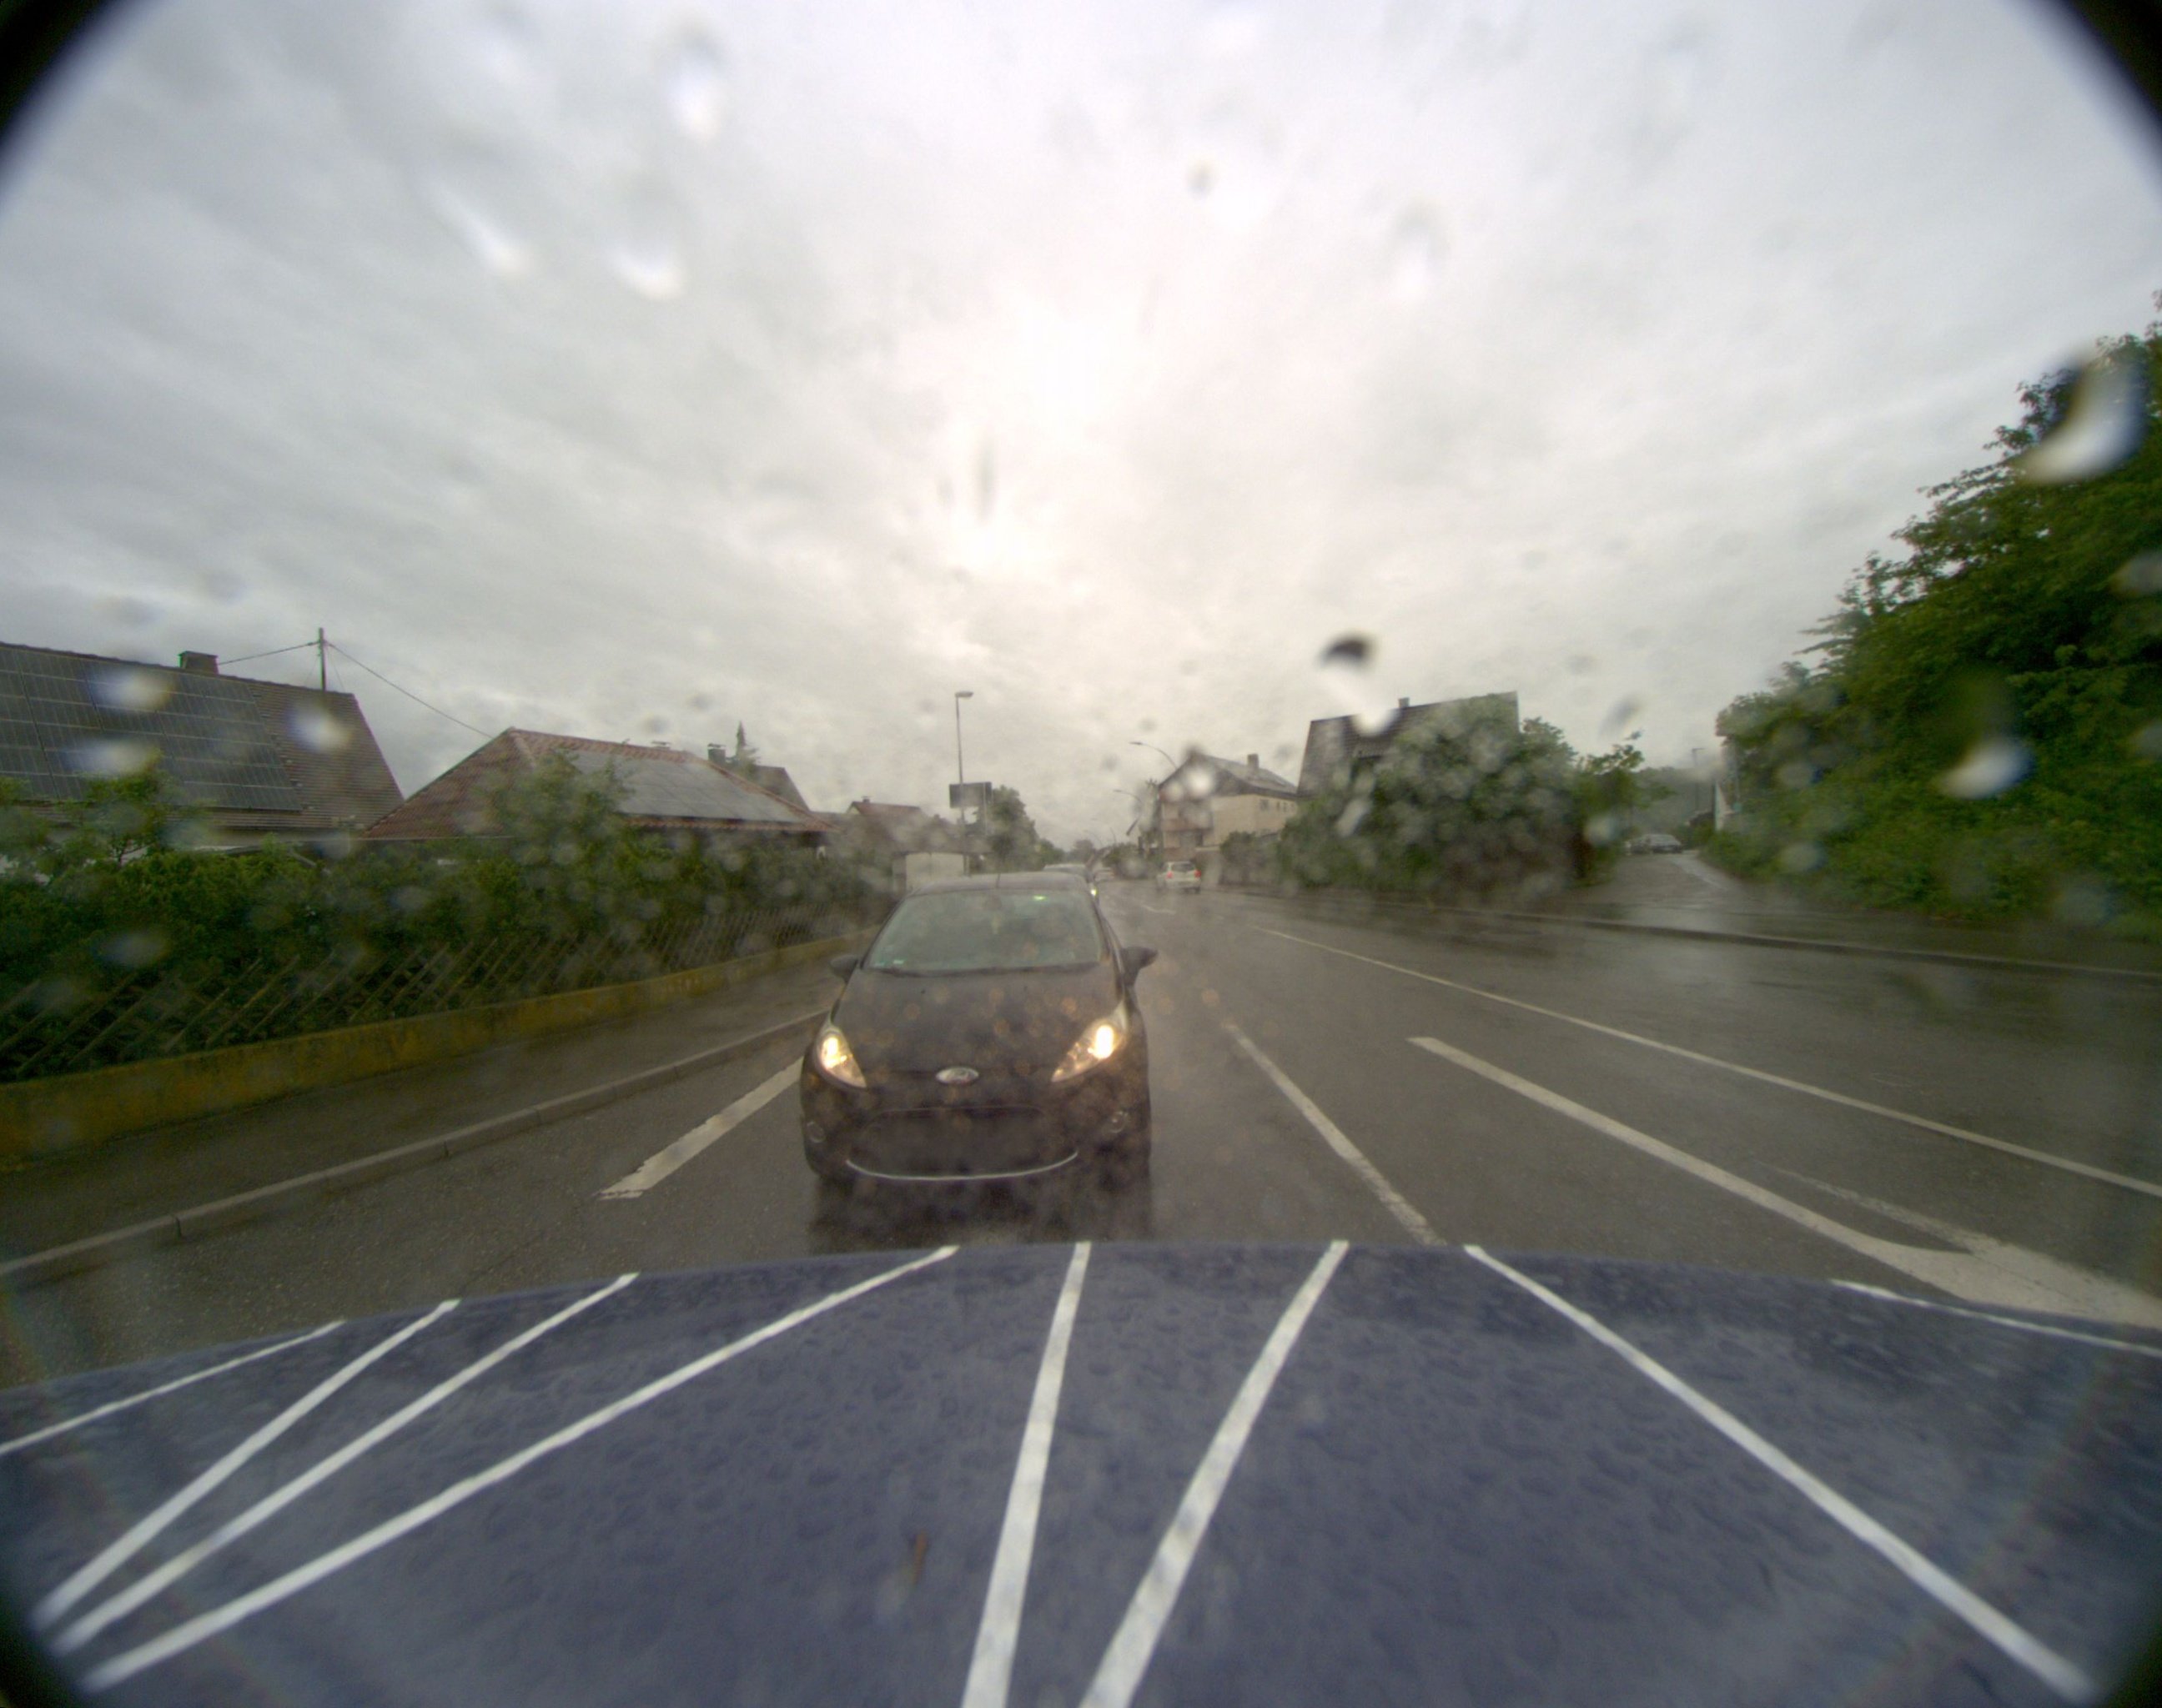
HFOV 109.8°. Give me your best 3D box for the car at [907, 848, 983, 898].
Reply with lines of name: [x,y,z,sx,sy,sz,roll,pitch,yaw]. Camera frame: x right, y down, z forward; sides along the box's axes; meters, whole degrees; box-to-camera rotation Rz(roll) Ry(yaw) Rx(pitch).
car: [-6.862,0.920,38.682,1.650,2.337,4.007,-2,0,27]

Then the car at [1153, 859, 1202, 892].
car: [4.720,1.039,37.621,1.625,1.496,3.820,-1,0,-5]

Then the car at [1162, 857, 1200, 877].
car: [8.824,1.106,66.880,1.661,1.538,4.007,-2,1,34]

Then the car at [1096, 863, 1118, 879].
car: [2.711,1.818,81.158,1.669,1.496,4.319,-3,0,-6]

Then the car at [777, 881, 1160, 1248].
car: [-0.550,1.018,5.399,1.666,1.410,3.931,-2,1,-1]

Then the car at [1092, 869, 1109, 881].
car: [2.588,2.694,100.348,1.670,1.430,4.105,0,0,-8]

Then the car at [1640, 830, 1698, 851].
car: [45.646,-1.017,59.082,1.997,1.477,4.004,-3,0,13]

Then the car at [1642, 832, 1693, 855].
car: [40.756,-0.737,52.888,1.895,1.474,4.007,-2,0,24]

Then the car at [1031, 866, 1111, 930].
car: [-0.339,1.105,20.522,1.899,1.474,3.999,-2,0,-3]
